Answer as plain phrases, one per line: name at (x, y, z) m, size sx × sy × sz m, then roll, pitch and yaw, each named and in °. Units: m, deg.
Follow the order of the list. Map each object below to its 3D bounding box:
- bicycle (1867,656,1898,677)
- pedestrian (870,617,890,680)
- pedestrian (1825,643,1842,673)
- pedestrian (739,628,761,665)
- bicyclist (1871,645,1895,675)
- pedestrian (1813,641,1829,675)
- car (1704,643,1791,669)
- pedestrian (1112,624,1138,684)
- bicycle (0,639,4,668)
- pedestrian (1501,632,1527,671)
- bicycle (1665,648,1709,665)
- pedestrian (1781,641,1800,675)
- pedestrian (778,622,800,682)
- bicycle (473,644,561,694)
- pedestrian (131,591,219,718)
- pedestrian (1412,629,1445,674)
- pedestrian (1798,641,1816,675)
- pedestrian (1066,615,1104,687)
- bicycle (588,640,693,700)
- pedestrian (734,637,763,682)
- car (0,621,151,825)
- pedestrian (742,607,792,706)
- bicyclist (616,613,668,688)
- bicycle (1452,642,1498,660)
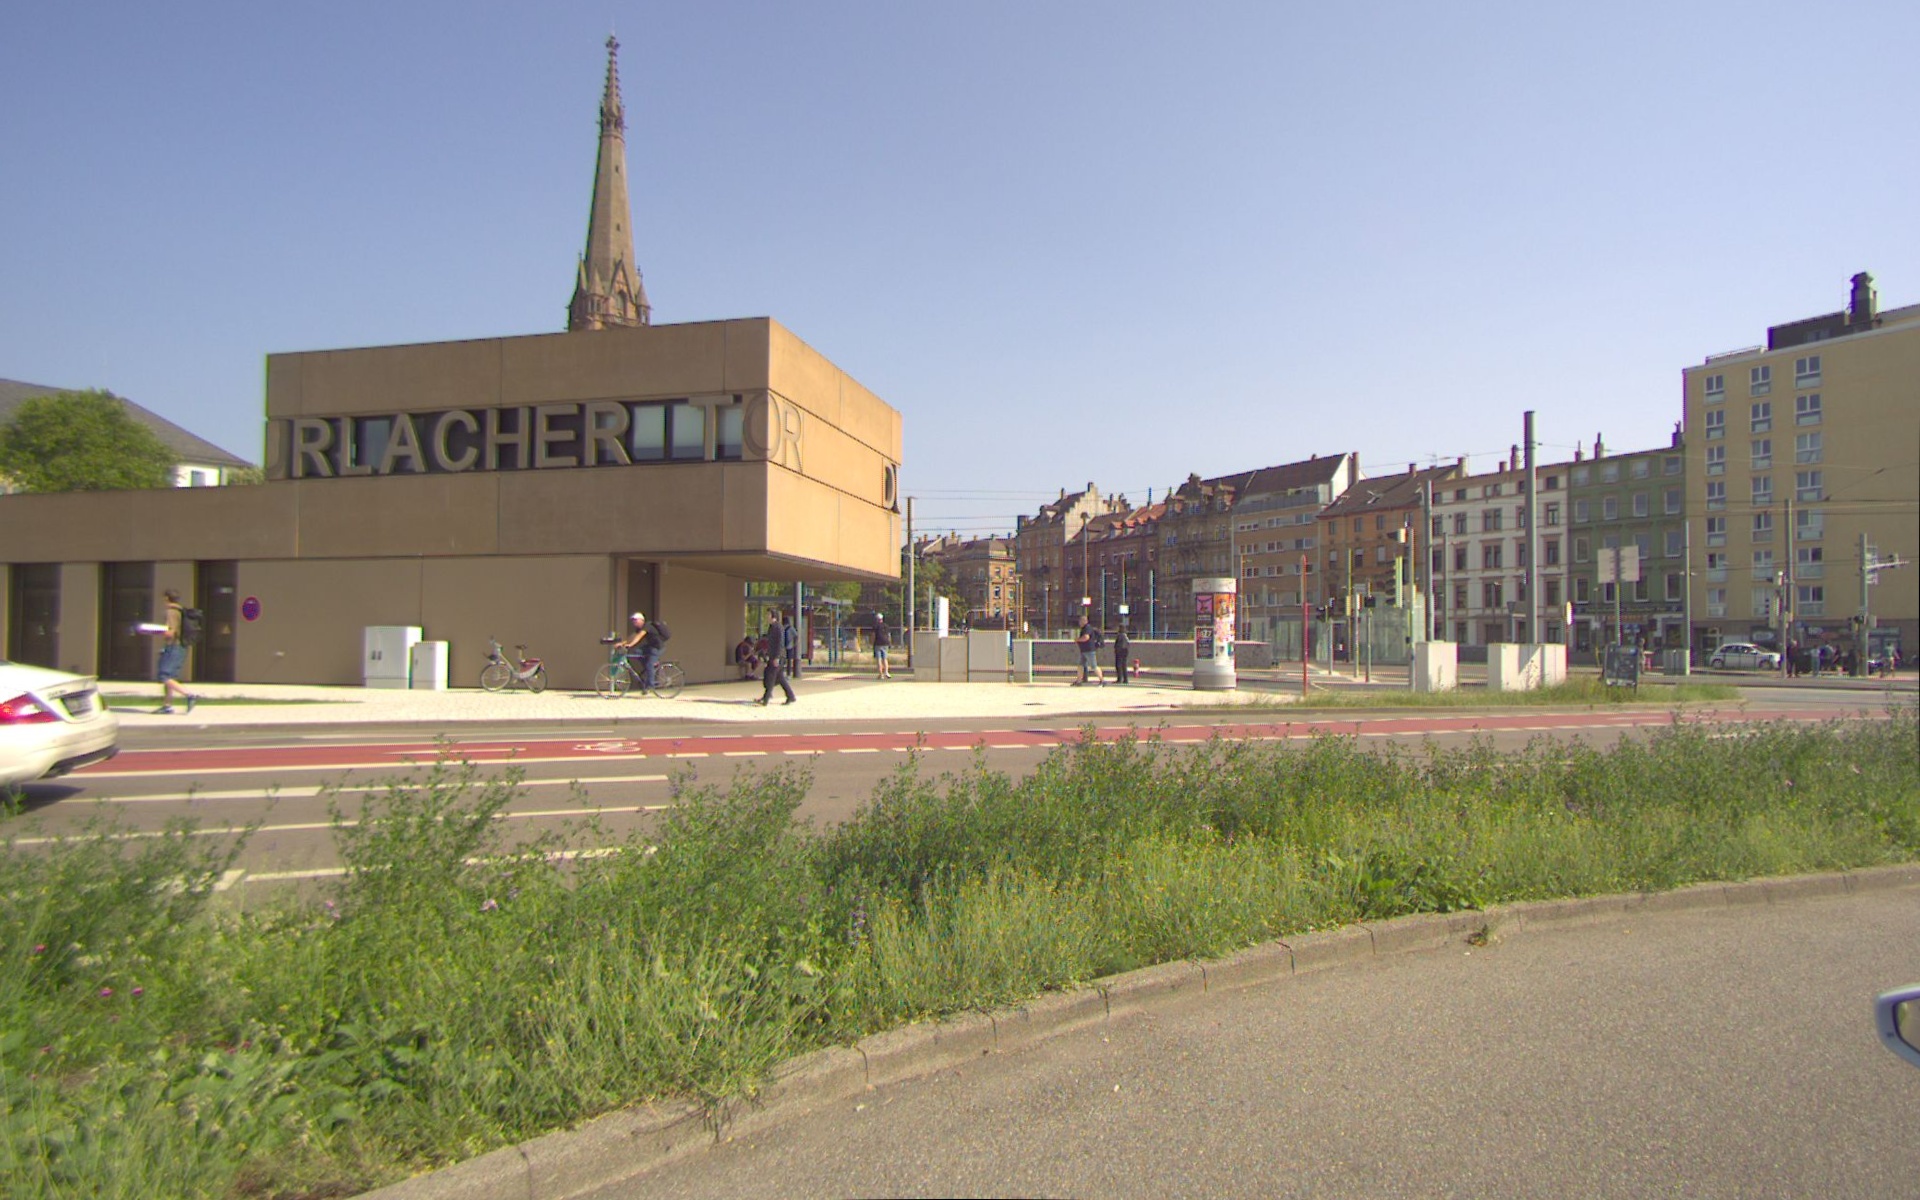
bicycle at (45.219, 3.243, 49.229) m, size 1.714 × 0.997 × 0.723 m, roll 2°, pitch -2°, yaw -34°
pedestrian at (-2.381, 1.432, 29.898) m, size 0.547 × 1.843 × 0.392 m, roll -2°, pitch 0°, yaw -4°
pedestrian at (44.646, 2.981, 51.353) m, size 0.489 × 1.507 × 0.440 m, roll -2°, pitch 0°, yaw 22°
pedestrian at (-9.273, 2.065, 44.362) m, size 0.782 × 1.612 × 0.692 m, roll 1°, pitch -2°, yaw 1°
bicyclist at (45.285, 2.941, 49.279) m, size 0.682 × 1.453 × 0.721 m, roll 2°, pitch -2°, yaw -33°
pedestrian at (44.153, 2.994, 51.517) m, size 0.447 × 1.707 × 0.440 m, roll -2°, pitch 0°, yaw 22°
car at (46.351, 3.265, 59.170) m, size 1.567 × 1.411 × 3.722 m, roll 2°, pitch -2°, yaw -28°
pedestrian at (4.493, 1.463, 27.317) m, size 0.499 × 1.601 × 0.497 m, roll -1°, pitch 0°, yaw -15°
bicycle at (-34.156, 1.848, 34.900) m, size 1.837 × 1.022 × 0.462 m, roll 0°, pitch -2°, yaw 16°
pedestrian at (26.804, 2.462, 48.570) m, size 0.847 × 1.810 × 0.772 m, roll -2°, pitch 1°, yaw -32°
bicycle at (50.564, 3.958, 69.855) m, size 2.413 × 1.131 × 0.737 m, roll -2°, pitch -1°, yaw 33°
pedestrian at (42.500, 2.943, 51.403) m, size 0.537 × 1.707 × 0.455 m, roll -2°, pitch 0°, yaw -5°
pedestrian at (-5.004, 1.505, 29.436) m, size 0.523 × 1.718 × 0.607 m, roll -2°, pitch 0°, yaw -3°
bicycle at (-9.118, 1.414, 20.704) m, size 1.580 × 0.968 × 0.661 m, roll 0°, pitch 0°, yaw 14°
pedestrian at (-11.555, 0.780, 14.789) m, size 0.668 × 1.783 × 0.874 m, roll 2°, pitch 0°, yaw 40°
pedestrian at (22.071, 2.417, 47.361) m, size 1.009 × 2.040 × 0.954 m, roll -1°, pitch -1°, yaw -29°
pedestrian at (43.138, 2.937, 51.140) m, size 0.538 × 1.707 × 0.454 m, roll -1°, pitch 0°, yaw -17°
pedestrian at (3.272, 1.323, 26.240) m, size 0.878 × 1.843 × 0.882 m, roll -2°, pitch 0°, yaw 12°
bicycle at (-6.171, 1.360, 19.427) m, size 1.827 × 1.078 × 0.560 m, roll 3°, pitch -1°, yaw -26°
pedestrian at (-5.653, 1.580, 26.866) m, size 0.513 × 1.187 × 0.596 m, roll 0°, pitch -2°, yaw 13°
car at (-8.968, 0.809, 7.038) m, size 4.752 × 1.379 × 1.837 m, roll 2°, pitch -1°, yaw -24°
pedestrian at (-3.645, 1.052, 19.057) m, size 0.832 × 1.802 × 0.875 m, roll -2°, pitch 0°, yaw -7°
bicyclist at (-6.156, 0.965, 19.421) m, size 0.871 × 1.380 × 0.560 m, roll -1°, pitch 1°, yaw -25°
bicycle at (42.544, 4.184, 83.014) m, size 0.765 × 1.366 × 3.513 m, roll -1°, pitch -1°, yaw -30°
